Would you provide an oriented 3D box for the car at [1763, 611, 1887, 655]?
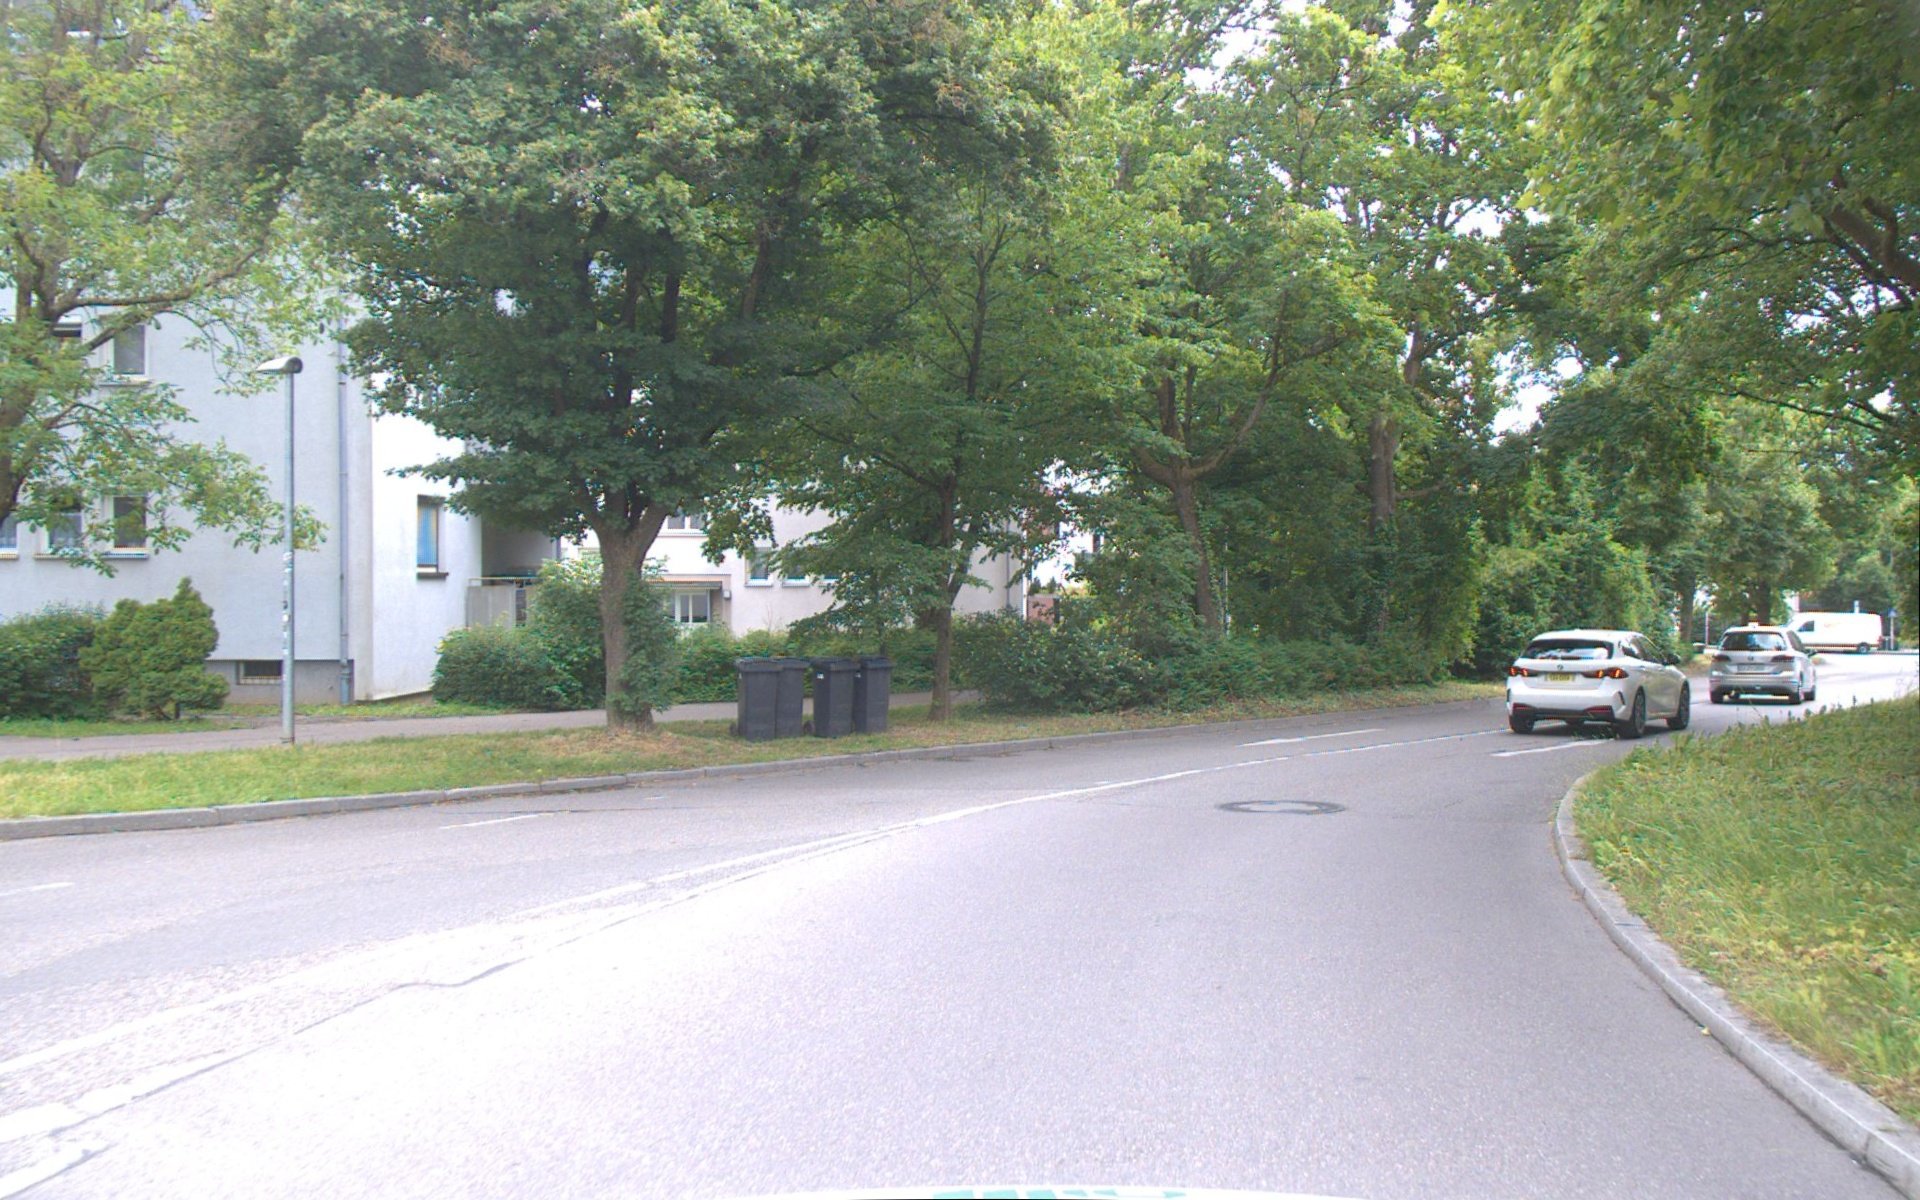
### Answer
[{"bbox_3d":[55.748,2.115,106.659,6.814,2.566,2.085,1,1,1],"label":"car"}]

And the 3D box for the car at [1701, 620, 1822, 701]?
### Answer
[{"bbox_3d":[17.105,1.248,35.219,1.888,1.601,3.989,0,-1,32],"label":"car"}]

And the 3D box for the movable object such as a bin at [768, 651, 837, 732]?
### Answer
[{"bbox_3d":[-1.853,1.070,19.421,0.585,0.894,0.614,2,1,-31],"label":"movable object such as a bin"}]

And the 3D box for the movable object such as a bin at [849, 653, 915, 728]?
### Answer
[{"bbox_3d":[-0.946,1.086,20.024,0.570,0.859,0.594,2,1,-31],"label":"movable object such as a bin"}]

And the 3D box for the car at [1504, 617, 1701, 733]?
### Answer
[{"bbox_3d":[9.552,1.062,24.414,1.765,1.544,4.191,0,-2,35],"label":"car"}]

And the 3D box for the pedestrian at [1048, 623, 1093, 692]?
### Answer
[{"bbox_3d":[2.506,1.292,37.512,0.598,1.526,0.868,3,1,38],"label":"pedestrian"}]

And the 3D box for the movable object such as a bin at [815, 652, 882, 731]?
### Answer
[{"bbox_3d":[-1.328,1.085,19.722,0.570,0.881,0.594,2,1,-31],"label":"movable object such as a bin"}]

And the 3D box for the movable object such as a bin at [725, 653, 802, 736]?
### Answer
[{"bbox_3d":[-2.249,1.073,18.926,0.614,0.878,0.723,2,1,-31],"label":"movable object such as a bin"}]
